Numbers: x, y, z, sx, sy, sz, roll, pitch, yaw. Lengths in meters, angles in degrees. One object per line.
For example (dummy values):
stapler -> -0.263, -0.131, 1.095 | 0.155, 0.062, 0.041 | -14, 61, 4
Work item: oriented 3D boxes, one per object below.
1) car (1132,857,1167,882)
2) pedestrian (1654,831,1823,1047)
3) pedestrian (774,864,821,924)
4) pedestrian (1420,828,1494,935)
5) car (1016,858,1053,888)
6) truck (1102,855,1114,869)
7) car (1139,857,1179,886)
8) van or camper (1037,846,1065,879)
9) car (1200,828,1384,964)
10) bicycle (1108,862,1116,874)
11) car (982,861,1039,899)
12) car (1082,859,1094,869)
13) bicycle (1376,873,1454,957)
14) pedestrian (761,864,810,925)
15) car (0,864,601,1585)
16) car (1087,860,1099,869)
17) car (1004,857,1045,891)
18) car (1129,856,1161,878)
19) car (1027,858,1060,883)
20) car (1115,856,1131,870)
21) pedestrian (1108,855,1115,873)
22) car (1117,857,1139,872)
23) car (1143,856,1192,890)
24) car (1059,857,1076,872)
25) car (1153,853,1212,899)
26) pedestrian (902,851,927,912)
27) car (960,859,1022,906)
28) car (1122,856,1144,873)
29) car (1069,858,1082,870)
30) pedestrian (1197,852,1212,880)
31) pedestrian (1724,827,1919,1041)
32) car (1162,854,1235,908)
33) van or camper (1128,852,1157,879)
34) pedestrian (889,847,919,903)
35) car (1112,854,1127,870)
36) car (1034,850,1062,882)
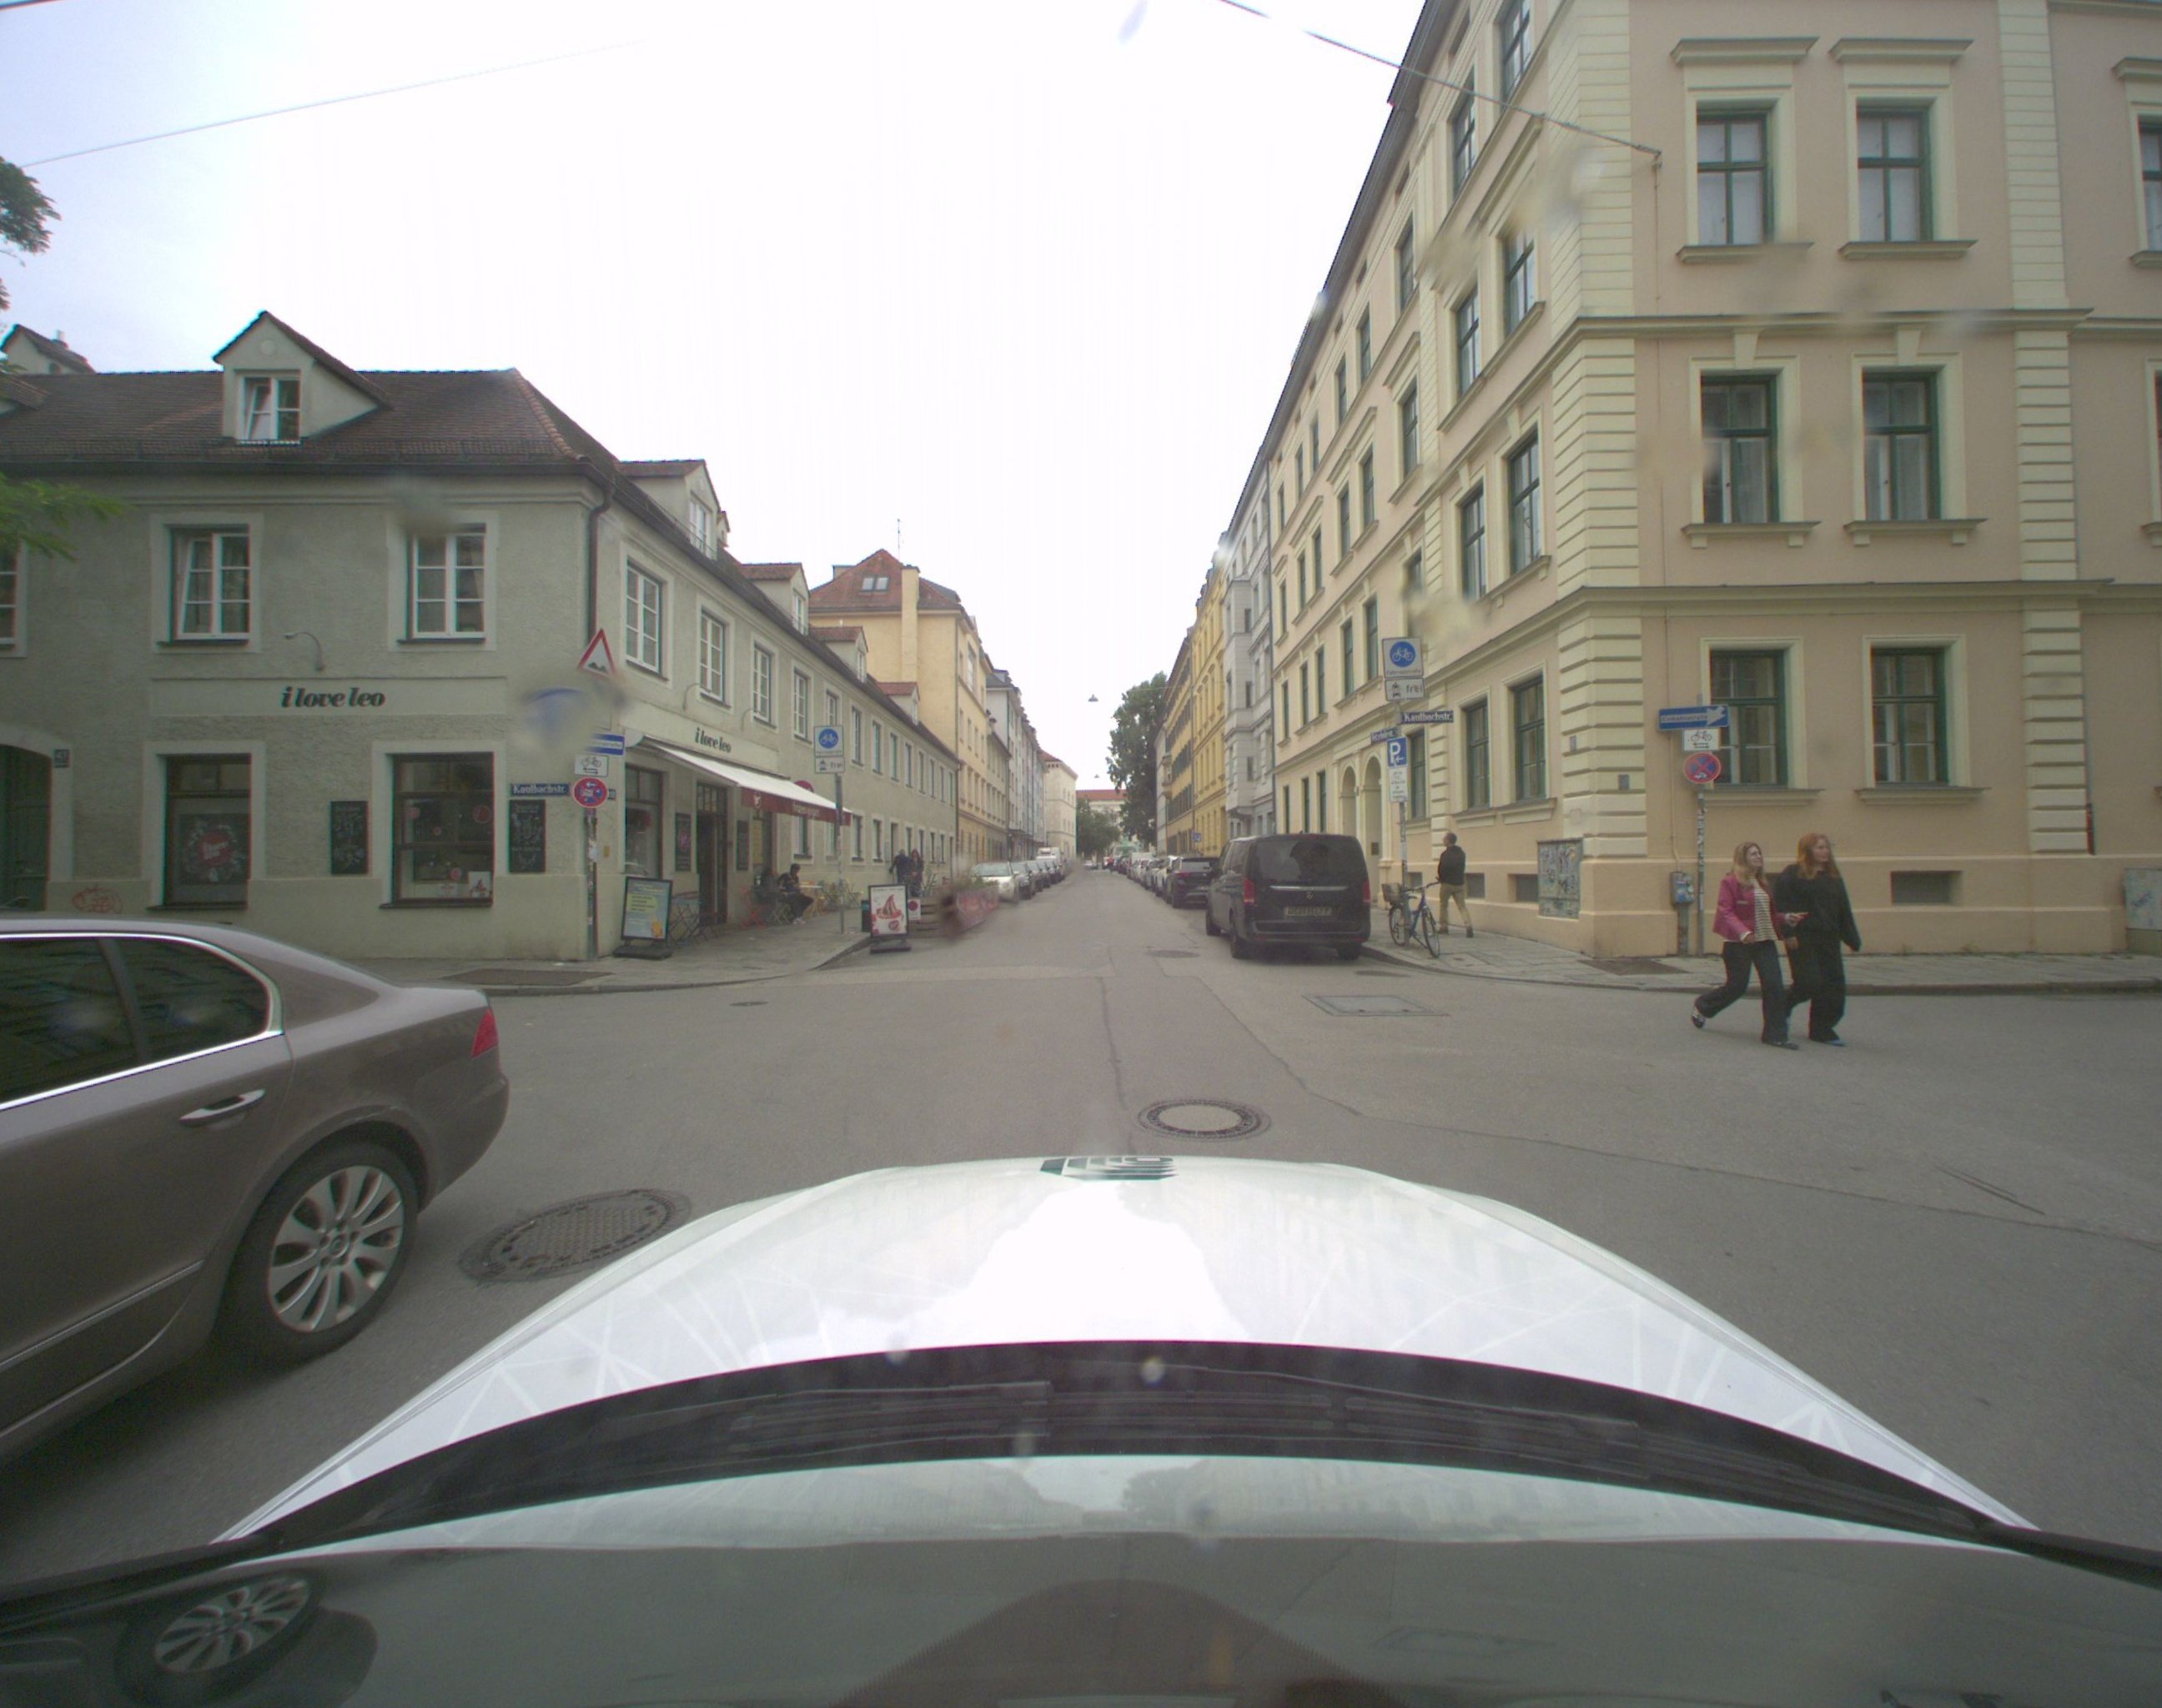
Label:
car -> 4.072, 0.927, 49.087 | 1.703, 1.454, 4.094 | -1, -1, -1
pedestrian -> 5.366, 0.658, 6.721 | 0.470, 1.625, 1.069 | -1, -2, 0
pedestrian -> -6.373, 0.893, 18.332 | 0.800, 1.290, 0.693 | -1, -2, 1
pedestrian -> 6.276, 0.459, 13.637 | 0.716, 1.717, 1.003 | -1, -2, 0
car -> -2.455, 0.953, 43.442 | 1.812, 1.441, 4.127 | -2, 0, -3
truck -> 4.772, 1.413, 143.956 | 2.113, 2.247, 6.187 | -1, -1, 2
car -> 3.983, 0.866, 42.324 | 1.702, 1.408, 4.815 | -1, -1, 1
van or camper -> -2.134, 0.609, 58.588 | 1.749, 2.281, 5.272 | -1, -1, 0
car -> 3.293, 0.591, 13.870 | 1.989, 1.864, 5.256 | 0, 0, 2
bicycle -> 2.990, 1.372, 78.553 | 0.673, 1.095, 1.761 | -1, -2, 2
car -> -2.713, 0.970, 32.311 | 1.792, 1.339, 4.685 | -1, 0, 0
car -> 1.126, 1.654, 135.013 | 1.699, 1.581, 3.866 | -2, -1, 4
bicycle -> 4.947, 0.864, 12.156 | 0.463, 1.052, 1.730 | -3, 2, 2
pedestrian -> -6.380, 0.865, 17.608 | 0.800, 1.290, 0.693 | -1, -2, 1
car -> -3.094, 0.809, 1.384 | 1.674, 1.471, 4.947 | -2, 0, -2
car -> 2.103, 1.803, 141.138 | 1.699, 1.581, 3.866 | -2, -1, 4
car -> -2.596, 0.908, 38.291 | 1.750, 1.496, 4.197 | -1, -1, -2
car -> 4.201, 0.875, 54.104 | 1.703, 1.392, 4.204 | -1, -1, -1
car -> -2.184, 0.969, 48.283 | 1.749, 1.409, 4.102 | -1, -1, 0
car -> 5.147, 1.101, 99.702 | 1.805, 1.614, 4.157 | -1, -1, 2
pedestrian -> 2.982, 0.961, 78.624 | 0.639, 1.714, 0.843 | -1, -2, 2
car -> 4.516, 1.026, 78.790 | 1.806, 1.425, 4.245 | 0, -1, 0
car -> 3.841, 0.826, 36.884 | 1.703, 1.404, 4.205 | -1, -1, -1
car -> -1.503, 1.158, 92.521 | 1.701, 1.609, 3.862 | -2, -1, 0
car -> 3.737, 0.768, 30.553 | 1.737, 1.583, 4.467 | -1, -1, 1
pedestrian -> -4.965, 0.806, 24.376 | 0.526, 1.782, 0.877 | -1, -2, 1
car -> -2.935, 0.892, 27.158 | 1.750, 1.475, 3.711 | 0, 0, -2
car -> 4.641, 0.956, 73.506 | 1.805, 1.465, 4.247 | 0, -1, 1
car -> -0.811, 1.465, 120.195 | 1.699, 1.609, 3.866 | -2, -1, 3
pedestrian -> 7.172, 0.705, 47.221 | 0.658, 1.571, 0.642 | -4, -2, 0
pedestrian -> 6.062, 0.624, 6.734 | 0.656, 1.621, 0.979 | -1, -2, 0
car -> 3.558, 0.798, 25.304 | 1.748, 1.521, 4.275 | -1, -1, 1
van or camper -> 4.379, 0.834, 59.022 | 1.827, 1.872, 5.080 | -1, 0, 1
pedestrian -> -6.158, 0.722, 28.380 | 0.820, 1.898, 0.827 | -1, -2, 0
car -> 5.003, 1.036, 105.583 | 1.845, 1.919, 4.771 | -1, -1, 2
car -> -2.159, 0.779, 53.343 | 1.751, 1.995, 4.620 | 0, -1, -3
